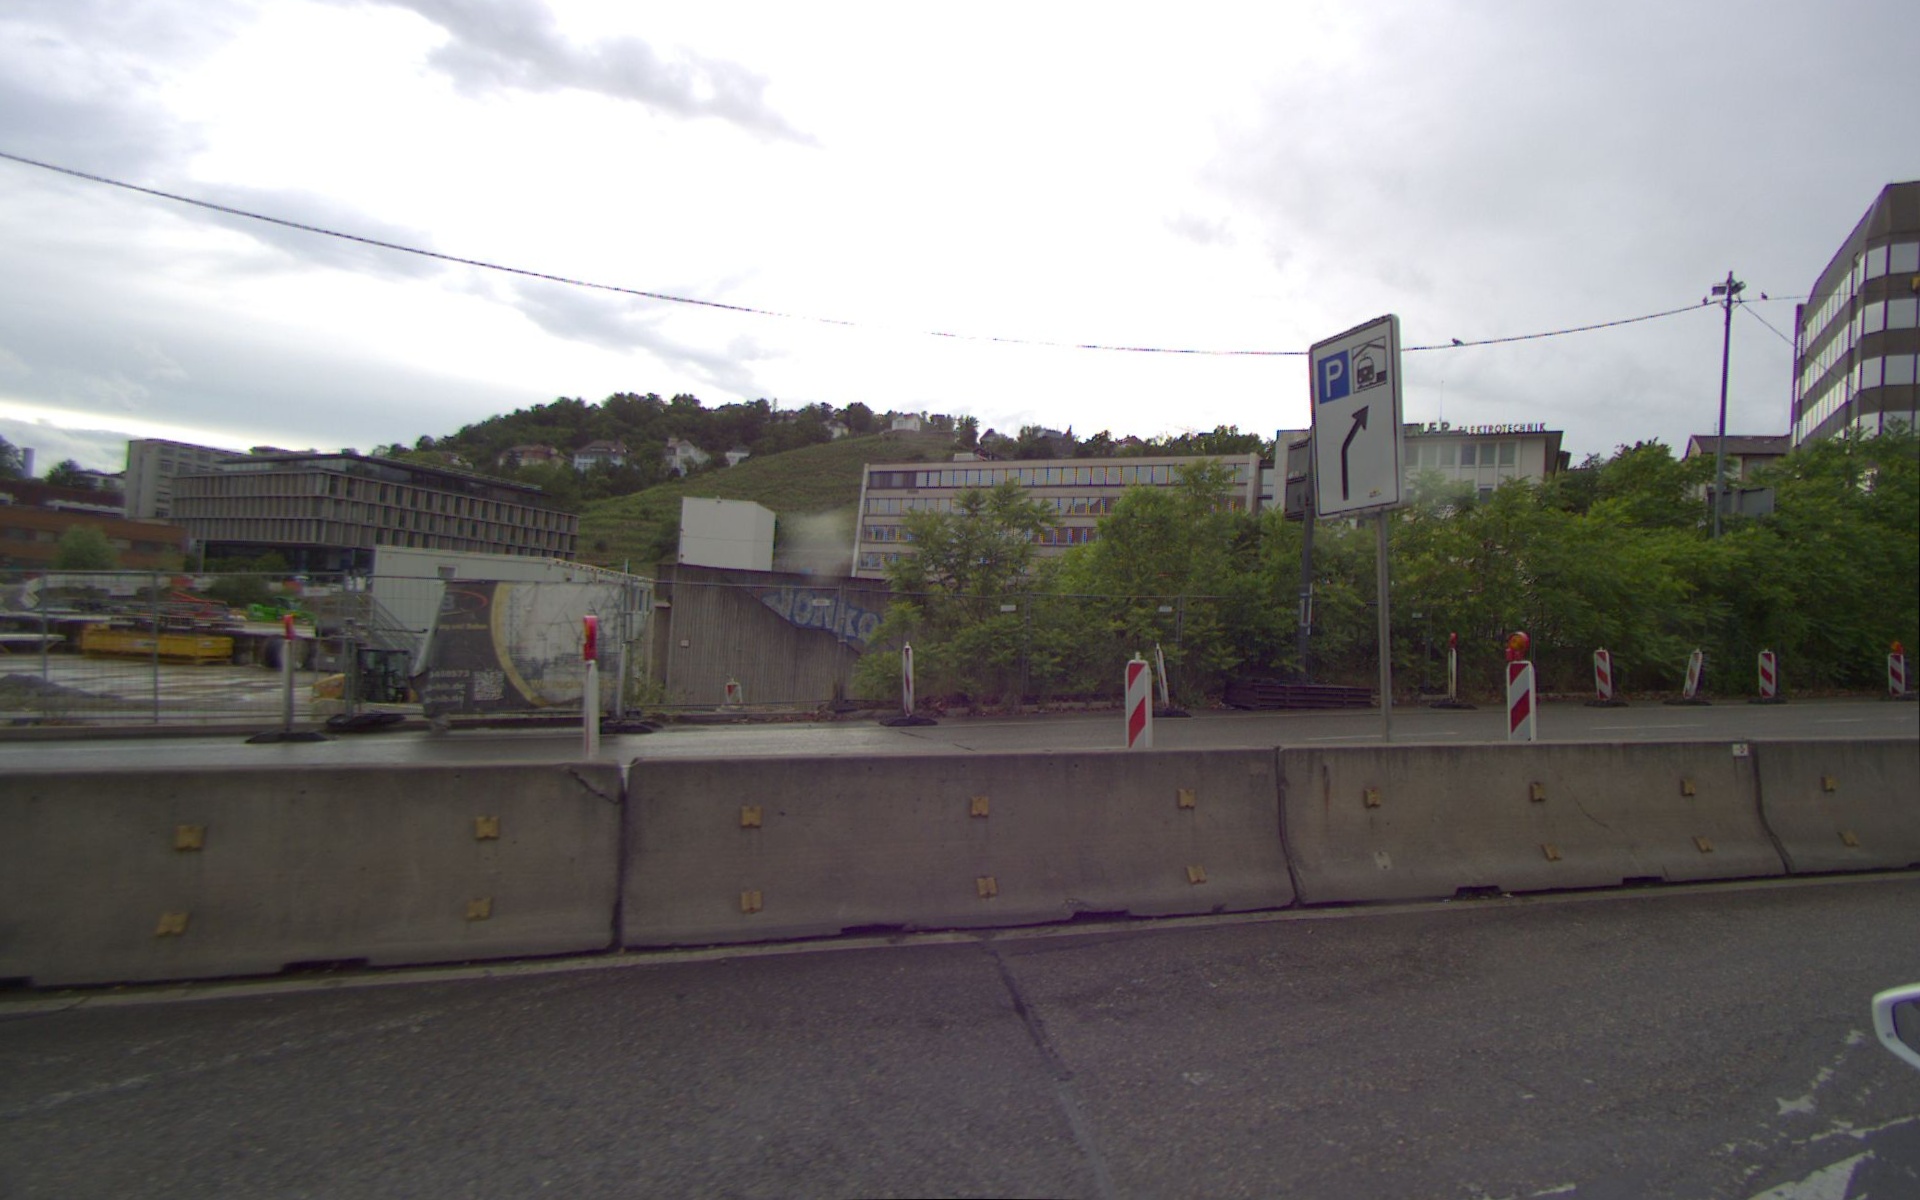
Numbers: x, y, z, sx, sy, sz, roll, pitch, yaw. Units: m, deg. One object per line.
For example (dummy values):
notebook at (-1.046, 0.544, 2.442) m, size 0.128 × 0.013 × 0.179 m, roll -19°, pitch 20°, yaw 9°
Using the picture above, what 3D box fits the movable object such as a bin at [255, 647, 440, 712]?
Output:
movable object such as a bin at (-18.605, 2.425, 30.722) m, size 4.372 × 1.698 × 1.732 m, roll 4°, pitch -2°, yaw -14°
